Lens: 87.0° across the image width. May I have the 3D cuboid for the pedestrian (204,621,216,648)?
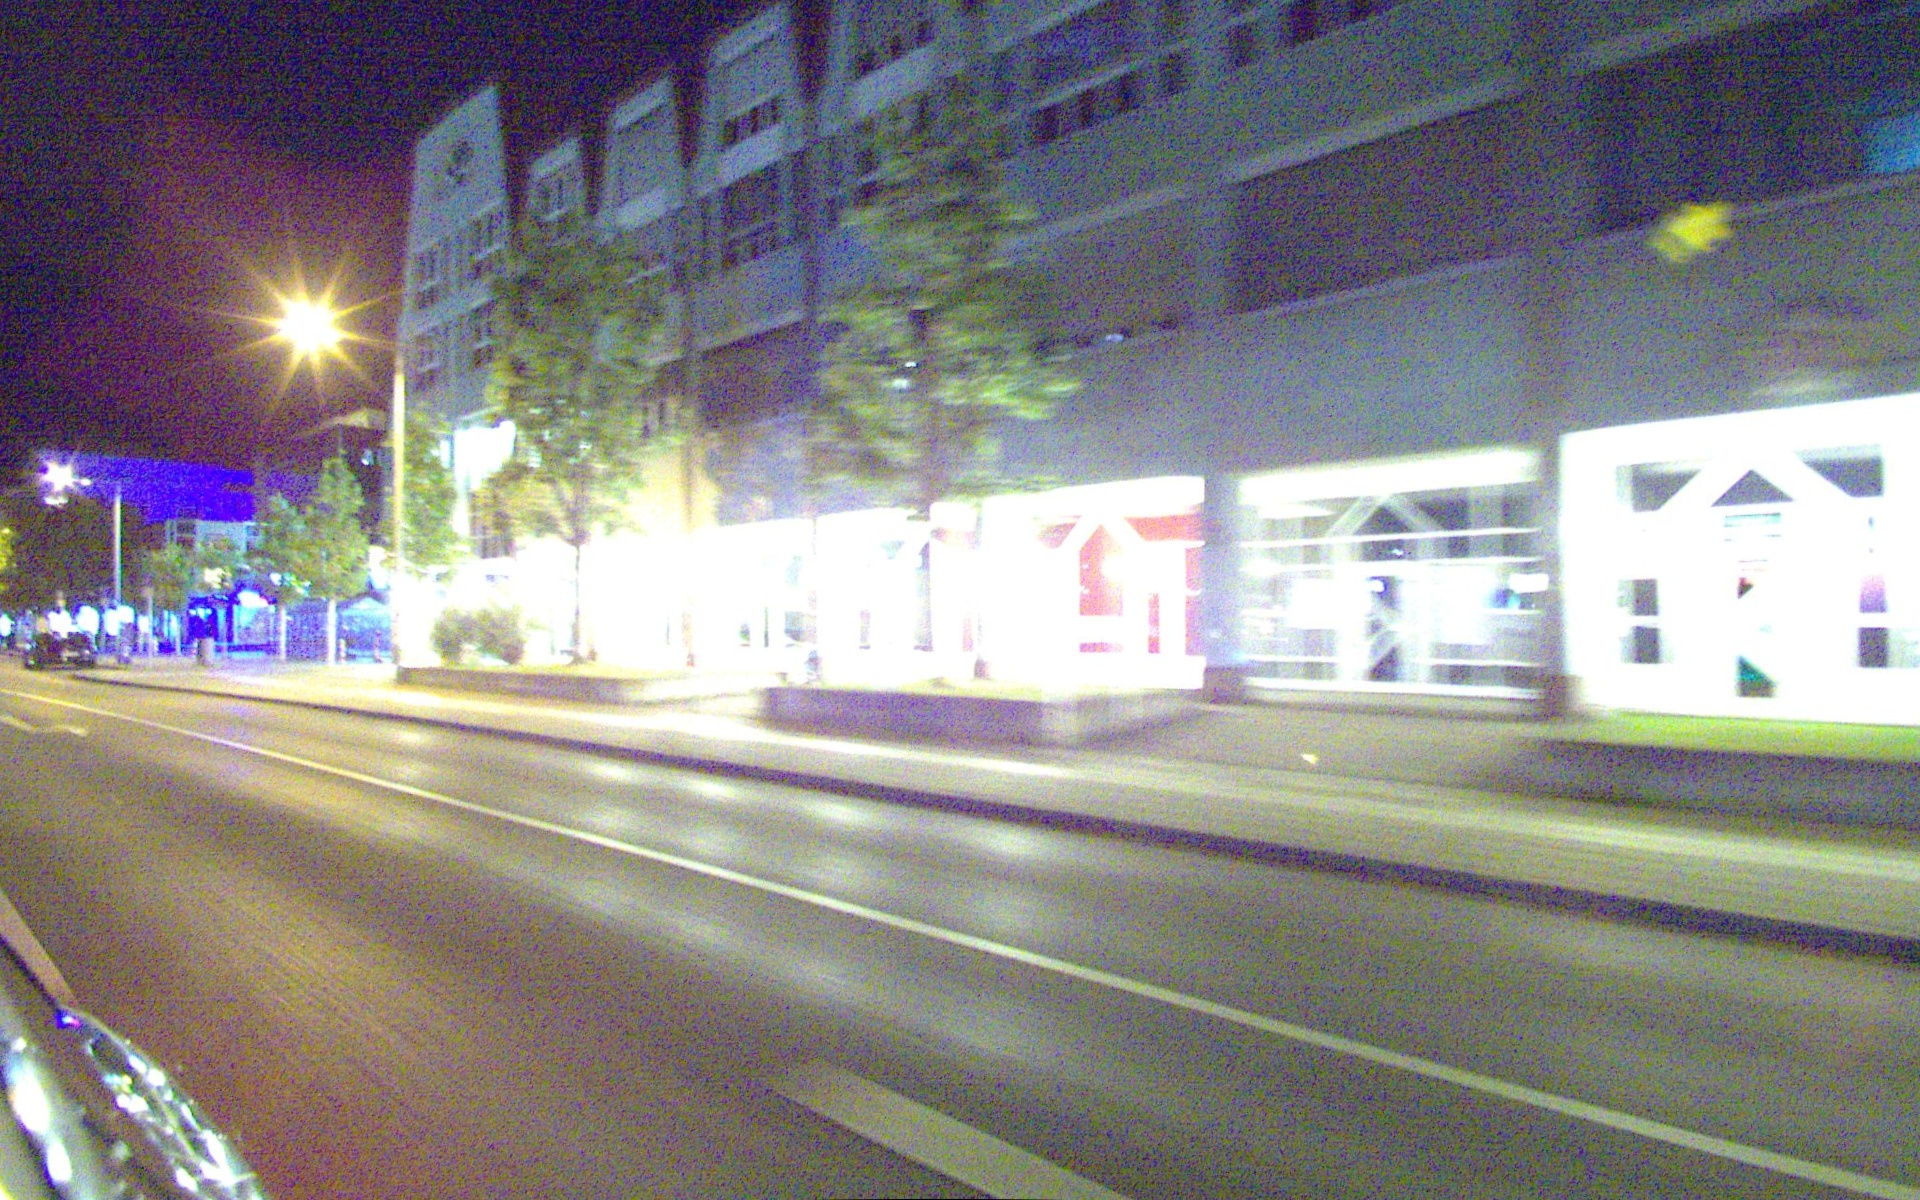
[{"bbox_3d":[-46.122,2.137,62.238,0.632,1.649,0.473,-2,-3,42],"label":"pedestrian"}]

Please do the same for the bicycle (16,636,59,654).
[{"bbox_3d":[-55.415,2.705,60.802,0.532,1.007,1.832,-2,-1,40],"label":"bicycle"}]

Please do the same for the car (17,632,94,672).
[{"bbox_3d":[-34.789,1.957,38.877,4.494,1.424,1.723,-2,-1,42],"label":"car"}]

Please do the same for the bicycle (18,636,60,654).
[{"bbox_3d":[-54.911,2.678,60.342,0.532,1.043,1.832,-2,-1,40],"label":"bicycle"}]

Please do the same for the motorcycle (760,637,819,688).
[{"bbox_3d":[-3.594,1.286,21.207,0.472,1.028,1.678,1,-2,-38],"label":"motorcycle"}]

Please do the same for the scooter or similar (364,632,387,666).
[{"bbox_3d":[-21.766,1.812,37.679,1.344,1.230,0.383,-2,-3,44],"label":"scooter or similar"}]

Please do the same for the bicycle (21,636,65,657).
[{"bbox_3d":[-53.291,2.702,58.837,0.532,1.175,1.831,-2,-3,40],"label":"bicycle"}]
